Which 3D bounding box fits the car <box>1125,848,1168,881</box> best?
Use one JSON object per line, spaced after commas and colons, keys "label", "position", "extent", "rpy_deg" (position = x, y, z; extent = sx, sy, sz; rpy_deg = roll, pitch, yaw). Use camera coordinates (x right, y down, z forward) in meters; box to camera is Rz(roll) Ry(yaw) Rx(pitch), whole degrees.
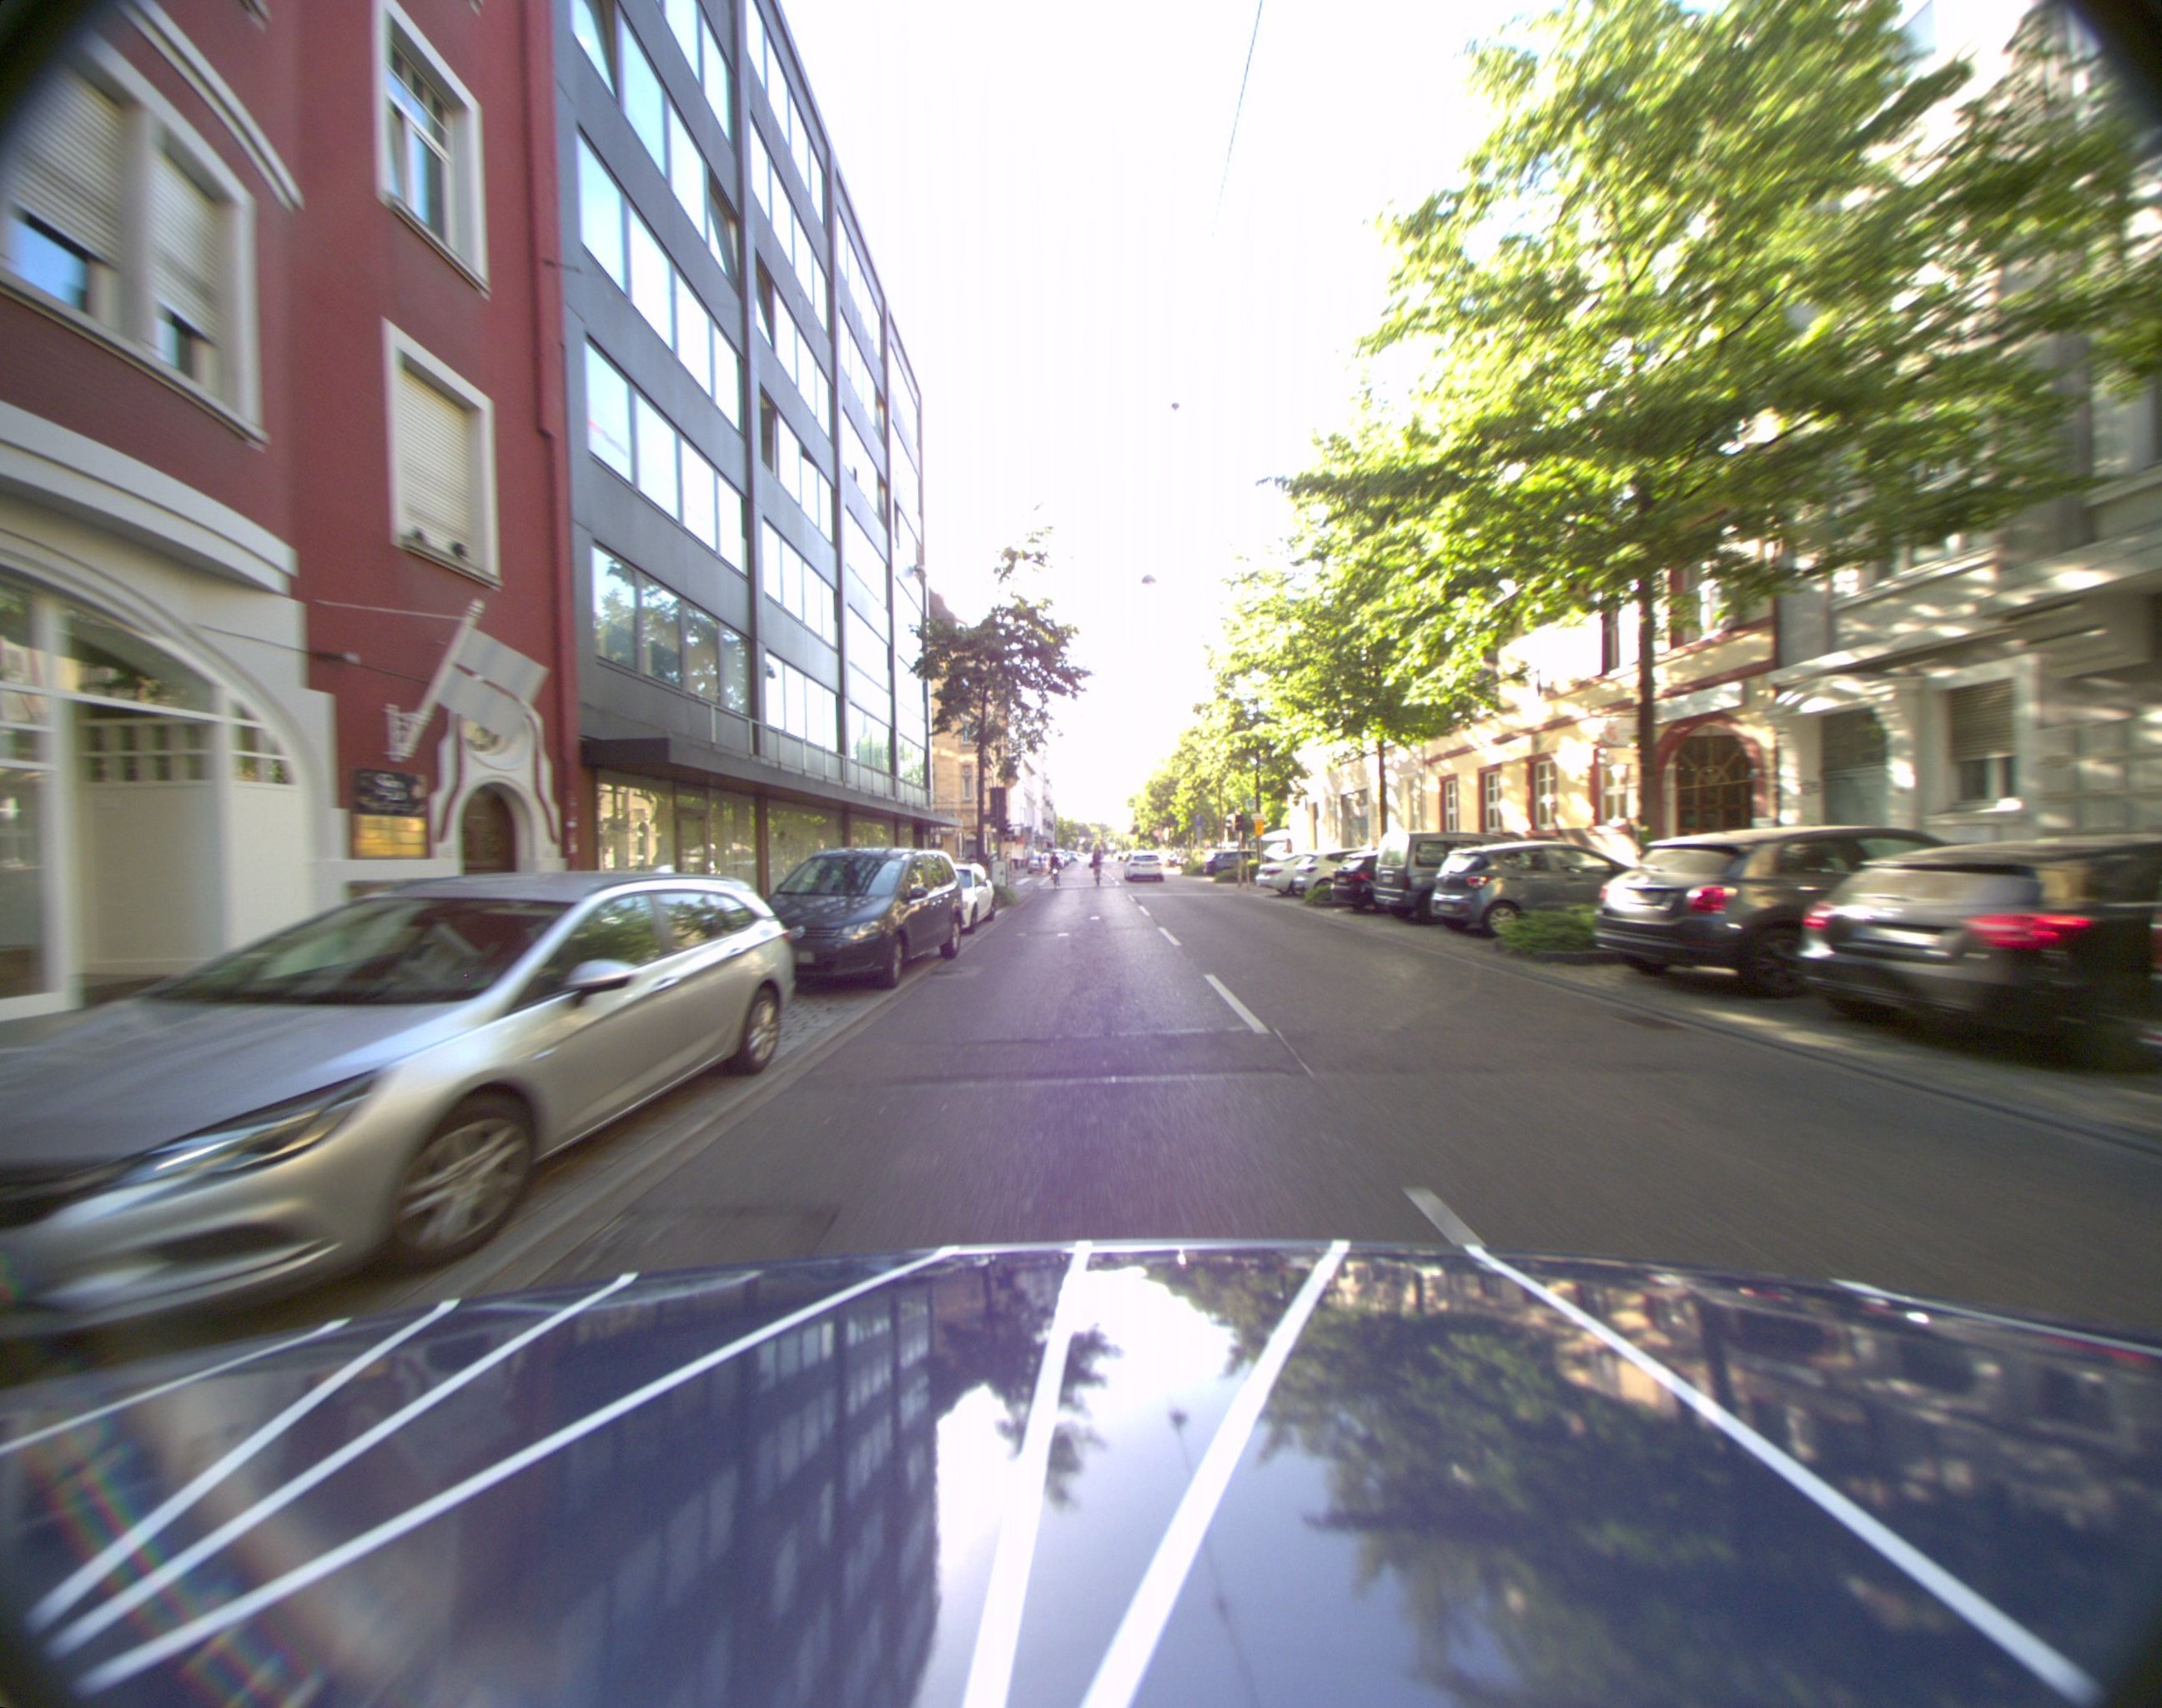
{"label": "car", "position": [3.345, 0.509, 39.695], "extent": [1.915, 1.535, 4.353], "rpy_deg": [-2, 1, 1]}

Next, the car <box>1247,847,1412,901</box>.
{"label": "car", "position": [8.060, 0.610, 24.946], "extent": [4.713, 1.484, 1.999], "rpy_deg": [-2, 2, -4]}

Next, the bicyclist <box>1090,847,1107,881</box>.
{"label": "bicyclist", "position": [0.845, 0.465, 36.015], "extent": [0.718, 1.553, 0.864], "rpy_deg": [-1, 1, 6]}

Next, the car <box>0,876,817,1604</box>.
{"label": "car", "position": [-3.303, 1.022, 4.295], "extent": [1.826, 1.587, 4.842], "rpy_deg": [2, 0, 1]}

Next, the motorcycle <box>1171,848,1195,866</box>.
{"label": "motorcycle", "position": [8.276, 0.243, 61.798], "extent": [1.750, 1.415, 0.831], "rpy_deg": [-1, 1, 27]}

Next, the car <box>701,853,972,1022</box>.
{"label": "car", "position": [-3.004, 0.889, 10.653], "extent": [1.826, 1.767, 4.932], "rpy_deg": [2, 0, 5]}

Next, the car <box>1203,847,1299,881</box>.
{"label": "car", "position": [8.365, 0.482, 37.715], "extent": [4.349, 1.535, 1.945], "rpy_deg": [-1, 1, 3]}

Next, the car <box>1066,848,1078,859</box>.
{"label": "car", "position": [-1.661, -0.079, 142.780], "extent": [1.998, 2.002, 4.000], "rpy_deg": [-1, 0, 1]}

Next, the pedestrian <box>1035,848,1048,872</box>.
{"label": "pedestrian", "position": [-2.903, 0.460, 55.518], "extent": [0.699, 1.709, 0.693], "rpy_deg": [1, 1, -22]}

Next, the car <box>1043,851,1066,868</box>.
{"label": "car", "position": [-2.647, 0.540, 76.155], "extent": [1.998, 1.565, 4.000], "rpy_deg": [1, 0, 1]}

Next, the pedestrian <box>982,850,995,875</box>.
{"label": "pedestrian", "position": [-6.401, 0.597, 52.646], "extent": [0.617, 1.682, 0.676], "rpy_deg": [2, 3, 45]}

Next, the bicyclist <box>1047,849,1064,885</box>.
{"label": "bicyclist", "position": [-1.142, 0.549, 33.633], "extent": [0.658, 1.562, 0.909], "rpy_deg": [-1, 1, 1]}

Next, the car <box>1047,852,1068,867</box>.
{"label": "car", "position": [-2.487, 0.532, 80.290], "extent": [1.998, 1.483, 4.000], "rpy_deg": [1, 0, 1]}

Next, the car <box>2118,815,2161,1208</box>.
{"label": "car", "position": [7.494, 0.719, 2.782], "extent": [4.584, 1.915, 1.930], "rpy_deg": [-1, 1, 3]}

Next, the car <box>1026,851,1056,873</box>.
{"label": "car", "position": [-3.096, 0.580, 59.147], "extent": [1.978, 1.565, 4.126], "rpy_deg": [1, 0, 1]}

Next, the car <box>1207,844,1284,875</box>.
{"label": "car", "position": [9.324, 0.315, 43.279], "extent": [3.996, 1.630, 1.945], "rpy_deg": [-1, 1, 3]}

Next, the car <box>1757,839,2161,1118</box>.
{"label": "car", "position": [7.864, 0.701, 5.453], "extent": [4.351, 1.586, 1.916], "rpy_deg": [-1, 1, -1]}

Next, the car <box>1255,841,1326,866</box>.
{"label": "car", "position": [16.664, -0.056, 60.377], "extent": [5.335, 1.933, 2.070], "rpy_deg": [0, 0, -25]}

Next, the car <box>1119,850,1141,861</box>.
{"label": "car", "position": [6.450, 0.171, 99.817], "extent": [1.771, 1.421, 4.005], "rpy_deg": [-1, 0, 21]}

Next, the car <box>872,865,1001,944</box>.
{"label": "car", "position": [-3.038, 1.011, 17.086], "extent": [1.826, 1.394, 4.842], "rpy_deg": [2, 0, 2]}

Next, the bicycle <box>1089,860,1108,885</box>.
{"label": "bicycle", "position": [0.857, 0.853, 36.124], "extent": [0.718, 1.105, 2.270], "rpy_deg": [-1, 1, 6]}

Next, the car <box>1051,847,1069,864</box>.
{"label": "car", "position": [-2.446, 0.192, 89.647], "extent": [1.999, 1.942, 5.100], "rpy_deg": [1, 0, -1]}

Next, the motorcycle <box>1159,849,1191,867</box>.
{"label": "motorcycle", "position": [7.525, 0.317, 61.036], "extent": [2.316, 1.415, 1.002], "rpy_deg": [-1, 1, 28]}

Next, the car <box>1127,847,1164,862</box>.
{"label": "car", "position": [7.902, 0.095, 93.456], "extent": [4.003, 1.684, 1.997], "rpy_deg": [-2, 1, -18]}

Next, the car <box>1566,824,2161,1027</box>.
{"label": "car", "position": [7.794, 0.636, 7.844], "extent": [4.351, 1.723, 1.916], "rpy_deg": [-1, 1, -1]}

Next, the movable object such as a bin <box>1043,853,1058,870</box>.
{"label": "movable object such as a bin", "position": [-2.750, 0.672, 69.528], "extent": [1.147, 1.413, 1.411], "rpy_deg": [2, 1, 5]}

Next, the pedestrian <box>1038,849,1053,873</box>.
{"label": "pedestrian", "position": [-2.531, 0.482, 54.830], "extent": [0.693, 1.709, 0.896], "rpy_deg": [2, 1, 25]}

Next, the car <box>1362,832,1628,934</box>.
{"label": "car", "position": [8.248, 0.544, 15.419], "extent": [4.351, 1.813, 1.929], "rpy_deg": [-1, 1, -2]}

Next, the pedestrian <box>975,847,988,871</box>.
{"label": "pedestrian", "position": [-7.131, 0.371, 54.443], "extent": [0.498, 1.683, 0.717], "rpy_deg": [-1, 2, 28]}

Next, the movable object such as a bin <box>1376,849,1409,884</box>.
{"label": "movable object such as a bin", "position": [12.400, 0.487, 30.292], "extent": [0.831, 1.347, 1.248], "rpy_deg": [-1, 1, 4]}

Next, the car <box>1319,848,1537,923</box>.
{"label": "car", "position": [8.136, 0.676, 17.981], "extent": [4.354, 1.535, 1.962], "rpy_deg": [-2, 1, -11]}

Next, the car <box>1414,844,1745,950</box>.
{"label": "car", "position": [8.207, 0.655, 12.807], "extent": [4.351, 1.535, 1.916], "rpy_deg": [-1, 1, -2]}

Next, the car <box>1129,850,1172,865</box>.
{"label": "car", "position": [7.222, 0.316, 78.755], "extent": [4.006, 1.433, 1.995], "rpy_deg": [-2, 1, -30]}

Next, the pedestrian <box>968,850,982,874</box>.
{"label": "pedestrian", "position": [-7.476, 0.539, 53.415], "extent": [0.618, 1.683, 0.717], "rpy_deg": [-1, 2, 28]}

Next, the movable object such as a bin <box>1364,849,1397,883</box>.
{"label": "movable object such as a bin", "position": [12.434, 0.486, 31.573], "extent": [0.911, 1.359, 1.261], "rpy_deg": [-1, 1, 4]}

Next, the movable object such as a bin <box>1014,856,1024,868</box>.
{"label": "movable object such as a bin", "position": [-5.745, 0.738, 69.951], "extent": [0.725, 1.042, 0.664], "rpy_deg": [2, -1, 11]}

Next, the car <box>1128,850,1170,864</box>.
{"label": "car", "position": [7.301, 0.309, 81.903], "extent": [4.005, 1.465, 1.996], "rpy_deg": [-2, 1, -25]}

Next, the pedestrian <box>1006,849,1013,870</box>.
{"label": "pedestrian", "position": [-6.066, 0.448, 64.222], "extent": [0.536, 1.732, 0.598], "rpy_deg": [-2, 1, -4]}

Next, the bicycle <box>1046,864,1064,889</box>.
{"label": "bicycle", "position": [-1.133, 0.982, 33.671], "extent": [0.666, 1.061, 1.836], "rpy_deg": [-1, 1, 1]}

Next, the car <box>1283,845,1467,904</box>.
{"label": "car", "position": [8.710, 0.588, 22.787], "extent": [4.713, 1.483, 1.999], "rpy_deg": [-2, 0, -4]}
